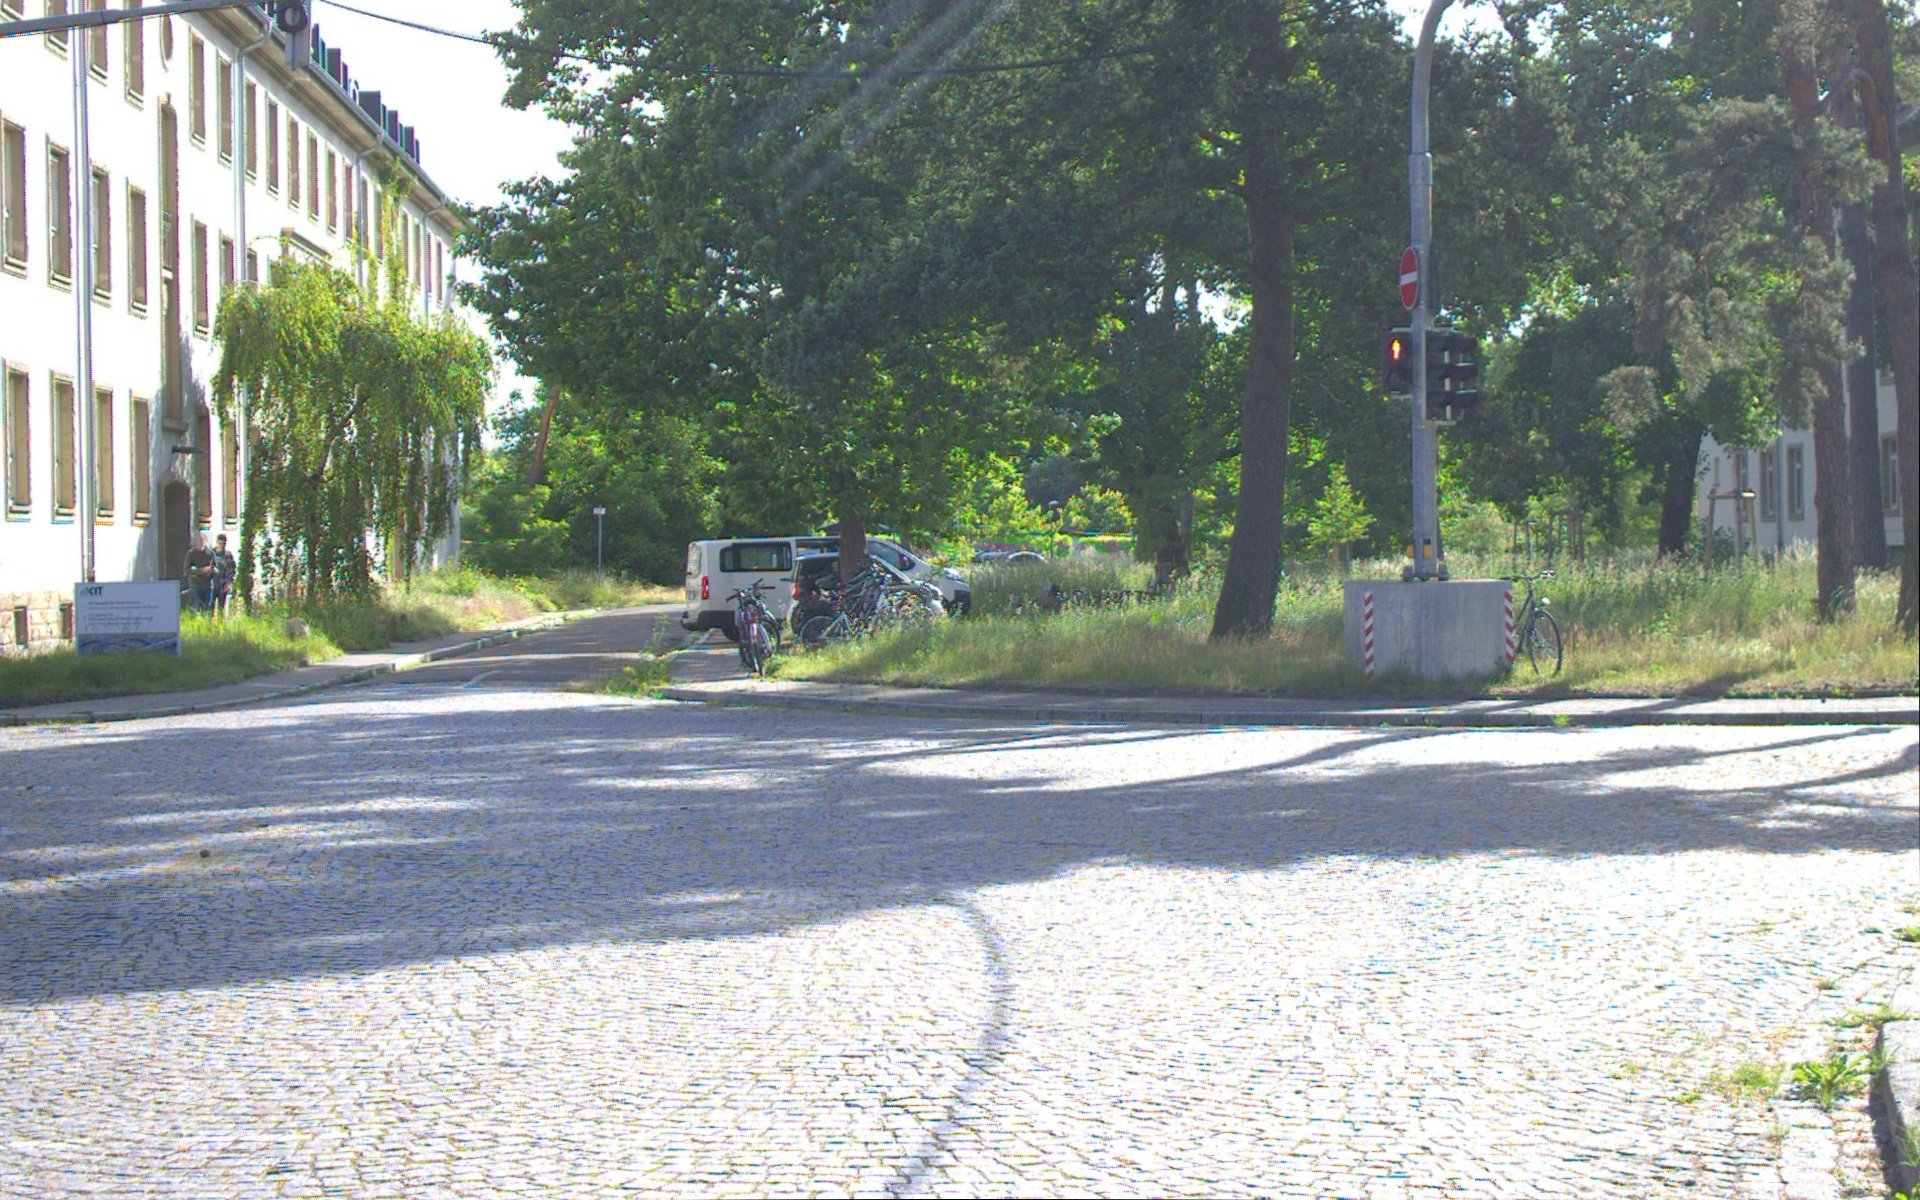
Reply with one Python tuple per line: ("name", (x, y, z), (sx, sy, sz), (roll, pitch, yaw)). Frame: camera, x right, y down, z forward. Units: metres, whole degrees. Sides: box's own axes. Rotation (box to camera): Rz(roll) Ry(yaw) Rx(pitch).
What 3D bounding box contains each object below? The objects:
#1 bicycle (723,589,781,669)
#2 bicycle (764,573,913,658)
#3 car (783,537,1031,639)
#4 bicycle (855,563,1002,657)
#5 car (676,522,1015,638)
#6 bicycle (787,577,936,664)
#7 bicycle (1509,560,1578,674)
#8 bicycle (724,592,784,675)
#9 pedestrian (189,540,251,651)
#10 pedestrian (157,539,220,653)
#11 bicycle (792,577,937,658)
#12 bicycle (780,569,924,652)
("bicycle", (-2.641, 0.356, 43.524), (0.695, 0.968, 1.861), (0, 1, -4))
("bicycle", (-1.662, 0.204, 47.113), (1.940, 1.125, 0.648), (-1, 1, -29))
("car", (-0.931, -0.220, 58.898), (3.986, 1.678, 1.848), (-1, 1, -10))
("bicycle", (-0.432, 0.132, 46.638), (1.940, 1.231, 0.485), (-1, 1, -5))
("car", (-2.139, -0.382, 63.032), (5.929, 2.007, 2.476), (-1, 1, -9))
("bicycle", (-1.319, 0.263, 45.906), (1.940, 1.125, 0.750), (-1, 1, -5))
("bicycle", (5.630, 0.160, 33.203), (0.466, 1.076, 1.174), (-1, 0, 1))
("bicycle", (-2.498, 0.393, 41.589), (0.695, 0.968, 1.861), (0, 1, -4))
("pedestrian", (-12.153, -0.082, 56.477), (0.767, 1.811, 0.682), (-1, 1, 9))
("pedestrian", (-12.378, -0.071, 55.190), (0.812, 1.811, 0.555), (-1, 1, 9))
("bicycle", (-1.256, 0.230, 45.112), (1.854, 1.027, 0.750), (-1, 1, -5))
("bicycle", (-1.518, 0.144, 48.208), (1.940, 1.125, 0.648), (-1, 1, -7))
